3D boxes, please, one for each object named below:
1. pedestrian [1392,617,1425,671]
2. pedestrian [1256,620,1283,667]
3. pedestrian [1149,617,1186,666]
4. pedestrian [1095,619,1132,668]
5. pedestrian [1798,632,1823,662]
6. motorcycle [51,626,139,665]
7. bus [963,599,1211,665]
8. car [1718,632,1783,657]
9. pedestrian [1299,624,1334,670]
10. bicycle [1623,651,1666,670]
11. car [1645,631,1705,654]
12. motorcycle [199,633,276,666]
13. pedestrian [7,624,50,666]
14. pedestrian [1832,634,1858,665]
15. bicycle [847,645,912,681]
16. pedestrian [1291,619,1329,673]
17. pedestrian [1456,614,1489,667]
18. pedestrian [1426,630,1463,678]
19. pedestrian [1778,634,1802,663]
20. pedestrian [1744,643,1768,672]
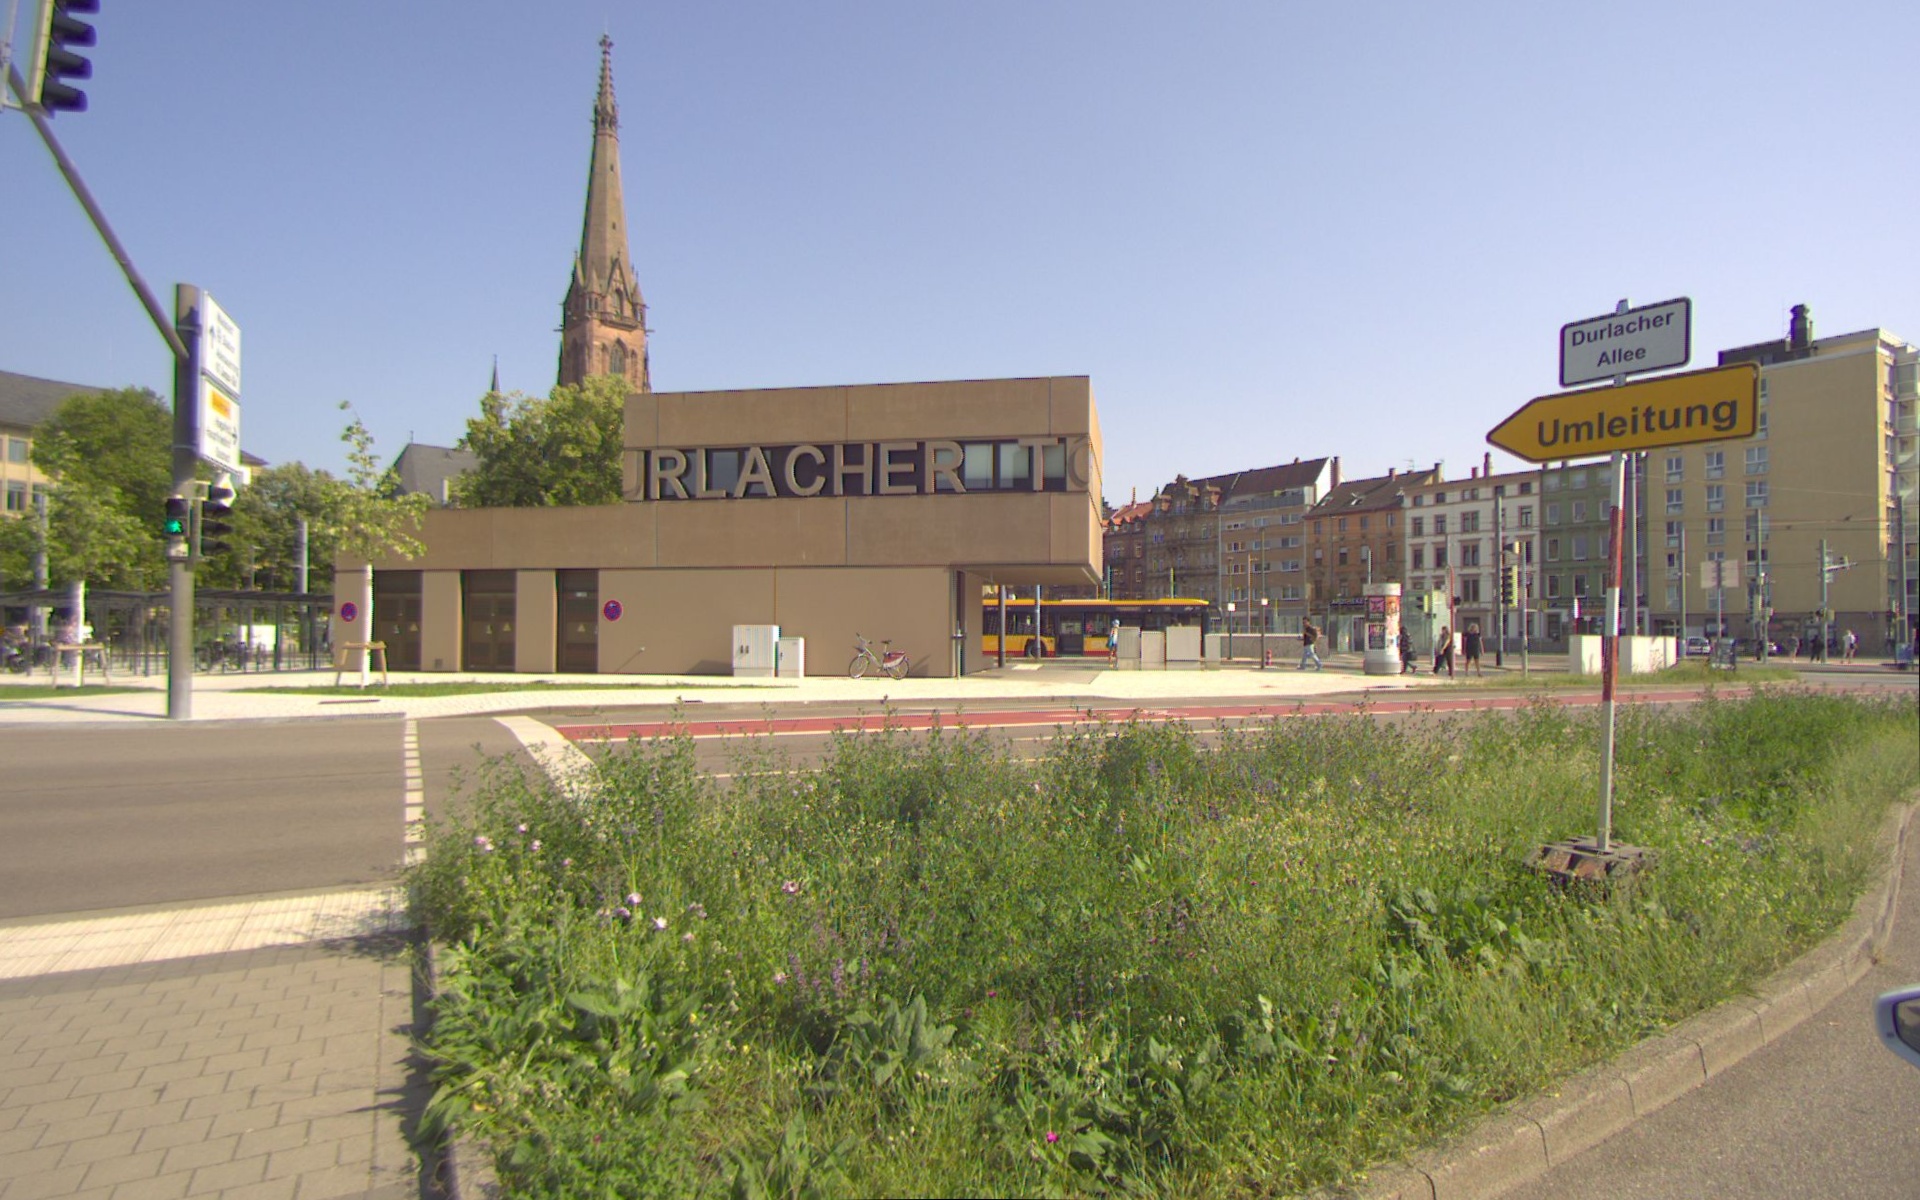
[{"bbox_3d":[15.403,1.520,34.532,0.765,1.824,0.799,0,-2,-1],"label":"pedestrian"},{"bbox_3d":[12.137,1.685,39.364,0.691,1.824,0.775,1,-2,-25],"label":"pedestrian"},{"bbox_3d":[7.388,1.466,35.739,0.856,1.727,0.982,1,-2,-30],"label":"pedestrian"},{"bbox_3d":[5.395,1.540,35.359,0.856,1.694,0.982,1,-2,-30],"label":"pedestrian"},{"bbox_3d":[49.691,2.759,58.659,0.913,1.712,0.916,1,-1,-35],"label":"pedestrian"},{"bbox_3d":[-33.160,1.744,38.542,2.714,1.468,0.790,0,-2,2],"label":"motorcycle"},{"bbox_3d":[6.280,1.556,50.023,11.966,3.149,2.719,0,-2,10],"label":"bus"},{"bbox_3d":[58.328,3.272,74.203,1.959,1.701,4.553,0,-1,11],"label":"car"},{"bbox_3d":[12.455,1.647,35.101,0.849,1.583,0.989,0,-2,-4],"label":"pedestrian"},{"bbox_3d":[36.958,3.263,54.247,0.717,0.944,1.805,1,-2,-28],"label":"bicycle"},{"bbox_3d":[55.914,3.325,78.647,1.959,1.701,4.553,0,-1,7],"label":"car"},{"bbox_3d":[-27.056,1.860,37.635,2.328,1.221,0.760,0,-2,1],"label":"motorcycle"},{"bbox_3d":[-40.184,1.924,43.340,0.988,1.784,0.862,0,-2,-4],"label":"pedestrian"},{"bbox_3d":[50.504,2.817,57.305,0.913,1.712,0.916,1,-1,-35],"label":"pedestrian"},{"bbox_3d":[-2.024,1.584,25.283,1.516,0.849,0.593,0,1,11],"label":"bicycle"},{"bbox_3d":[11.663,1.527,33.513,0.850,1.793,0.989,1,-2,-9],"label":"pedestrian"},{"bbox_3d":[17.761,1.392,34.814,0.691,1.824,0.775,1,-2,-25],"label":"pedestrian"},{"bbox_3d":[16.063,1.775,33.346,0.970,1.579,0.866,0,-2,17],"label":"pedestrian"},{"bbox_3d":[49.336,2.859,59.711,0.913,1.712,0.916,1,-1,-35],"label":"pedestrian"},{"bbox_3d":[47.827,3.424,60.362,0.913,1.712,0.916,1,-1,-35],"label":"pedestrian"}]
